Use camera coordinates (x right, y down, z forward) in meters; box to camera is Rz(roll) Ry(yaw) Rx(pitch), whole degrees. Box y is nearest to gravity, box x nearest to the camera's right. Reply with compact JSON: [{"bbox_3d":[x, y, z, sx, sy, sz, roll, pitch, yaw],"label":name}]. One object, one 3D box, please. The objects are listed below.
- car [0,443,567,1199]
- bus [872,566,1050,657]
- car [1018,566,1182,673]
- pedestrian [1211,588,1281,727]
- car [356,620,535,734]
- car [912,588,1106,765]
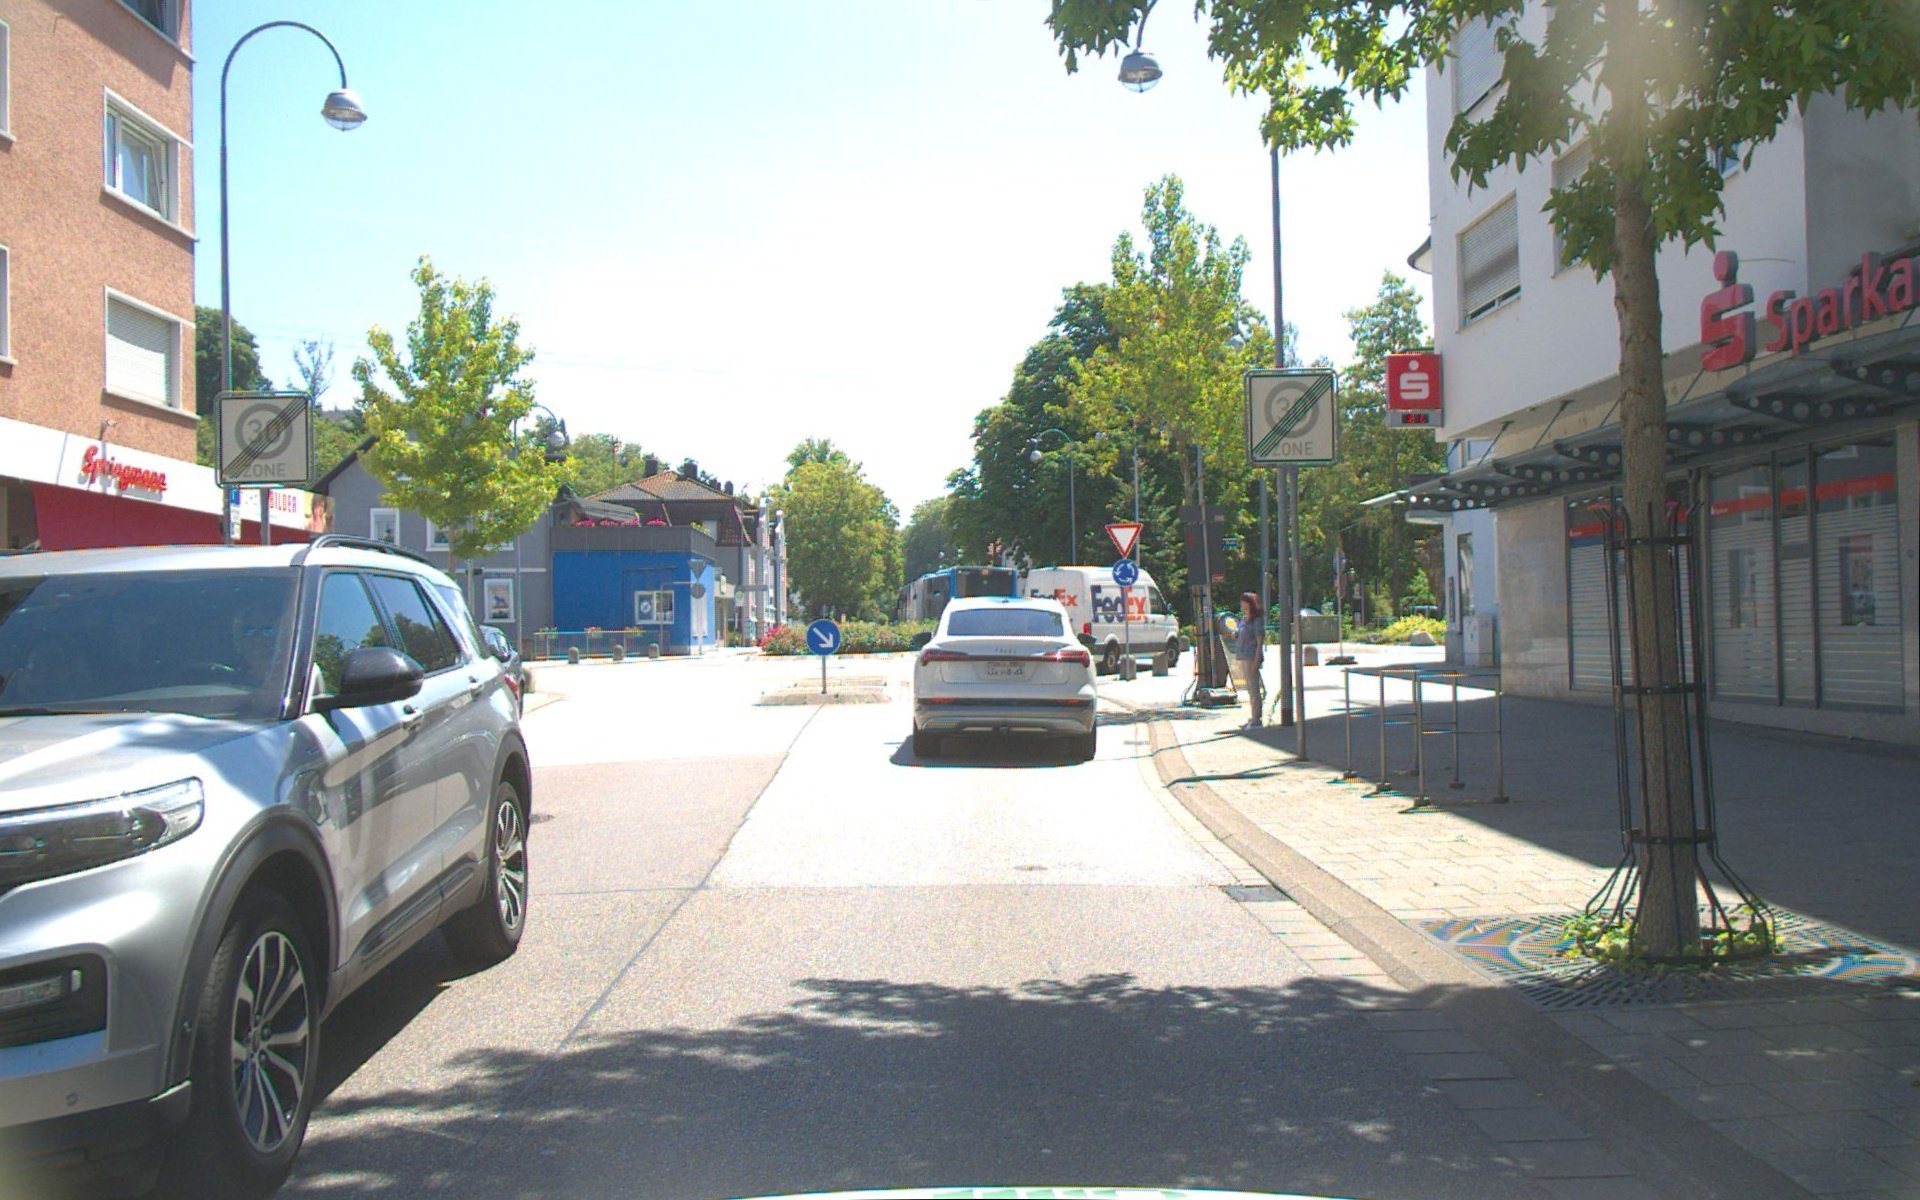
[{"bbox_3d":[-2.731,0.615,5.733,1.863,1.785,4.752,-1,-1,-4],"label":"car"},{"bbox_3d":[-0.411,0.573,68.307,3.641,3.227,18.011,1,-1,-12],"label":"bus"},{"bbox_3d":[3.648,0.461,42.000,1.956,2.524,5.473,-2,-1,30],"label":"car"},{"bbox_3d":[3.448,0.689,19.969,0.717,1.638,0.559,-2,-1,0],"label":"pedestrian"},{"bbox_3d":[-7.536,1.074,24.596,1.634,1.512,4.057,1,-1,-4],"label":"car"},{"bbox_3d":[0.455,0.751,18.093,1.859,1.691,4.408,0,-1,0],"label":"car"}]
